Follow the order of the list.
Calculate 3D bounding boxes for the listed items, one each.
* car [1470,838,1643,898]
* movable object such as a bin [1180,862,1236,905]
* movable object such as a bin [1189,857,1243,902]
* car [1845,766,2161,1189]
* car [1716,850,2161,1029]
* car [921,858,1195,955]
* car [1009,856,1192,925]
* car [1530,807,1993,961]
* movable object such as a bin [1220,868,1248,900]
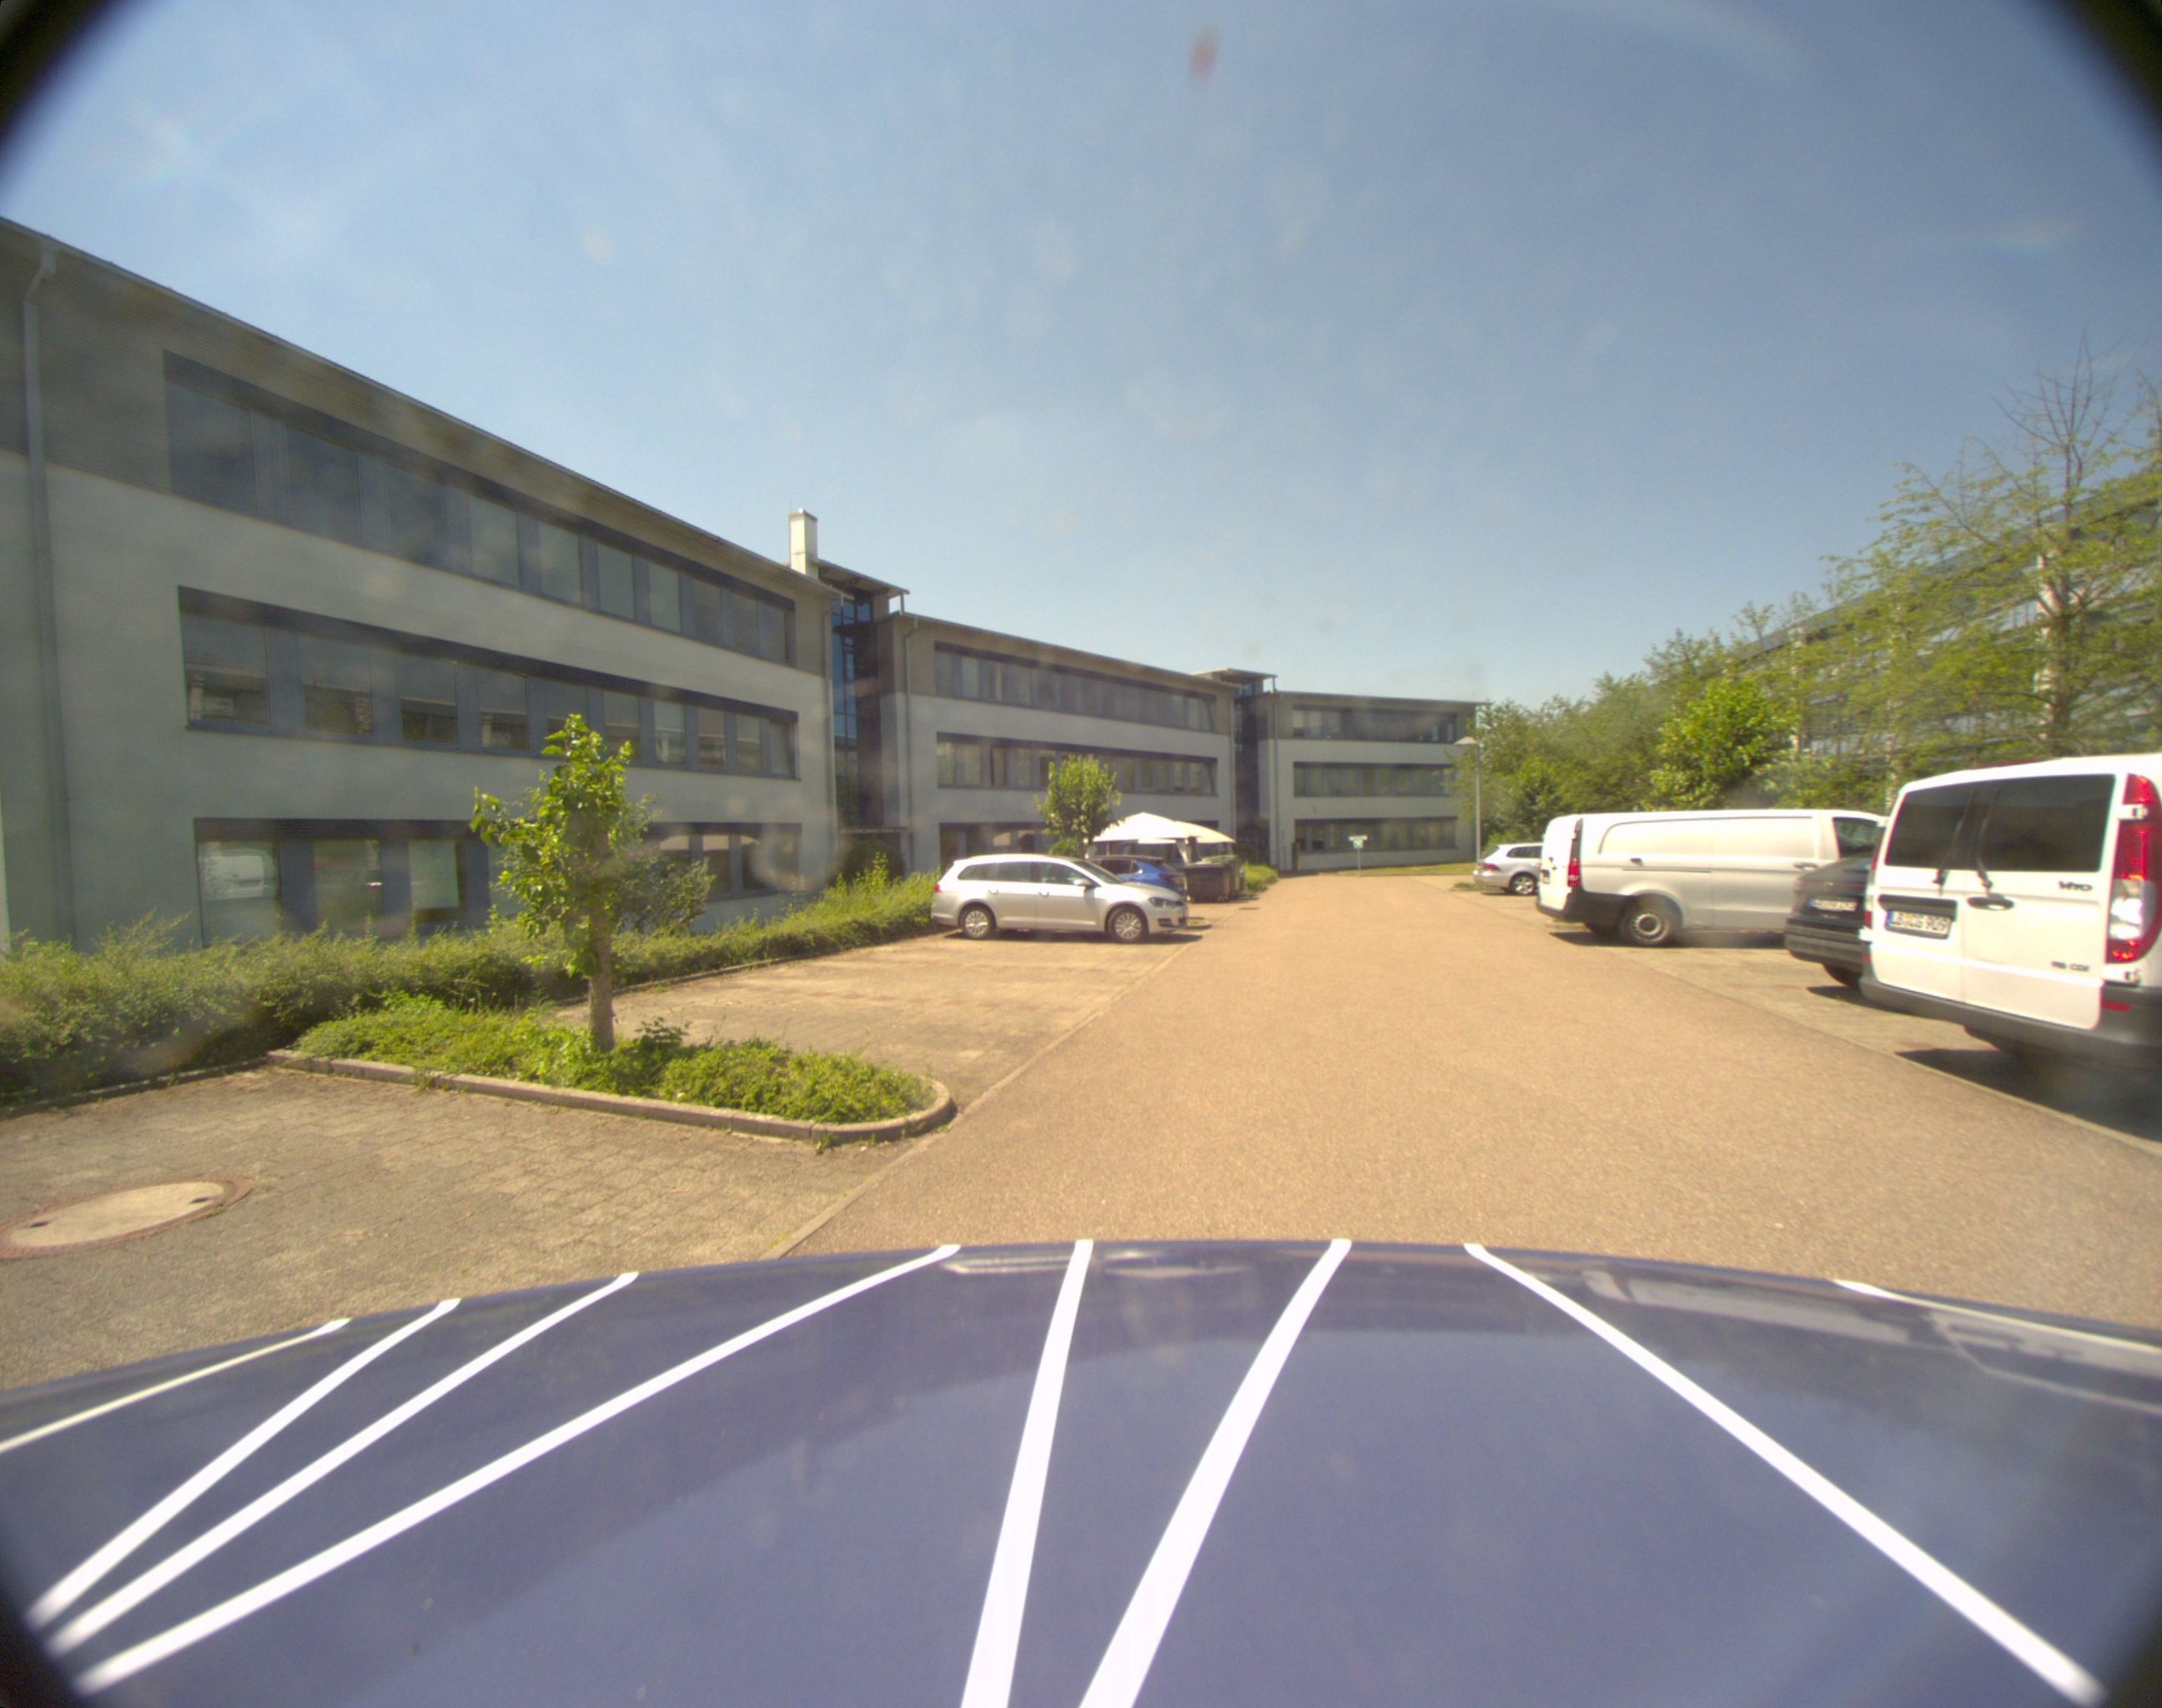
[{"bbox_3d":[13.047,0.390,21.098,3.758,1.549,1.662,-1,1,16],"label":"car"},{"bbox_3d":[3.631,0.830,21.707,1.361,1.183,0.998,-1,1,22],"label":"movable object such as a bin"},{"bbox_3d":[4.043,0.751,22.686,1.361,1.288,1.044,-1,1,22],"label":"movable object such as a bin"},{"bbox_3d":[7.231,0.495,3.652,4.726,1.895,1.831,-1,1,16],"label":"car"},{"bbox_3d":[8.520,0.704,6.950,3.844,1.385,1.578,-1,1,16],"label":"car"},{"bbox_3d":[-0.366,0.841,13.523,4.511,1.489,1.831,0,1,16],"label":"car"},{"bbox_3d":[0.470,0.764,17.056,3.819,1.384,1.653,0,1,16],"label":"car"},{"bbox_3d":[9.130,0.399,10.701,4.511,1.871,1.831,-1,1,16],"label":"car"},{"bbox_3d":[4.744,0.918,23.509,0.689,0.944,0.723,-1,1,22],"label":"movable object such as a bin"}]
